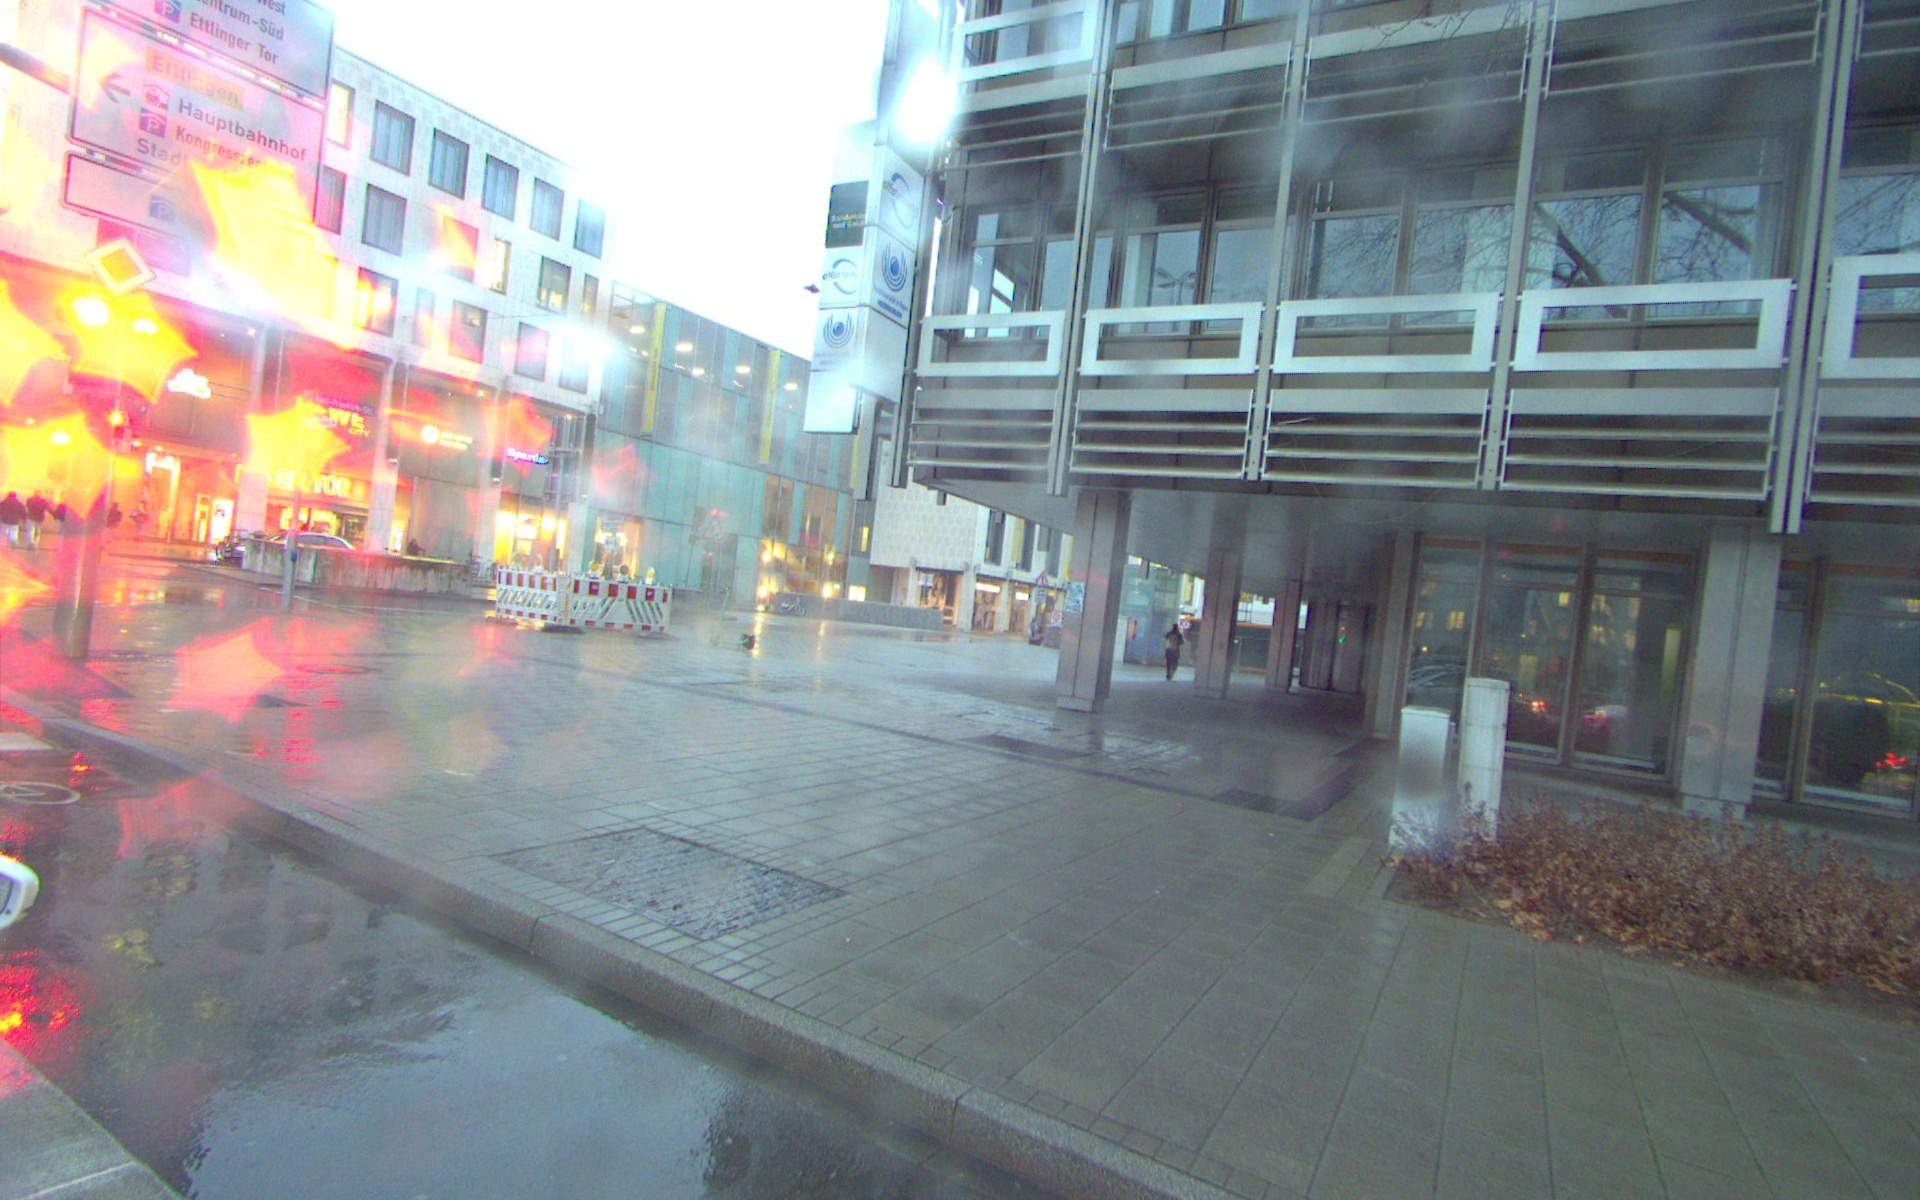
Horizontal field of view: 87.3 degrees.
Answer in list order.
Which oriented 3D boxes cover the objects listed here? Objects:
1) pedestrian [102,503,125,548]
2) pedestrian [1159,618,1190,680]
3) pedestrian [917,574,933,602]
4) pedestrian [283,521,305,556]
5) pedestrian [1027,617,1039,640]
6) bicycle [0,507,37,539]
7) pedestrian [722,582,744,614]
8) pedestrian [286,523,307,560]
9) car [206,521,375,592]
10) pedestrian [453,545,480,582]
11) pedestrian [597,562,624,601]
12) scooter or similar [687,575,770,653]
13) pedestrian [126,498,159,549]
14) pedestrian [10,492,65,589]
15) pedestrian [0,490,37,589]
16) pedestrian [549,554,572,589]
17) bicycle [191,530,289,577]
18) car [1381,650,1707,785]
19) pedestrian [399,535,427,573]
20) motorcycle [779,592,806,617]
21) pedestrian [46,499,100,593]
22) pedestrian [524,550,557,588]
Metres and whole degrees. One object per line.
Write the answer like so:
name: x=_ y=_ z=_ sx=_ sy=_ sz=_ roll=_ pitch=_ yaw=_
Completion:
pedestrian: x=-32.819 y=-2.888 z=39.009 sx=0.480 sy=1.683 sz=0.454 roll=6 pitch=1 yaw=-28
pedestrian: x=6.465 y=1.480 z=30.343 sx=0.678 sy=1.796 sz=0.660 roll=7 pitch=-1 yaw=16
pedestrian: x=-2.218 y=-0.777 z=64.113 sx=0.573 sy=1.703 sz=0.542 roll=6 pitch=-1 yaw=38
pedestrian: x=-34.233 y=-3.157 z=51.715 sx=0.729 sy=1.740 sz=0.733 roll=6 pitch=1 yaw=-31
pedestrian: x=5.707 y=2.245 z=78.737 sx=0.573 sy=1.703 sz=0.542 roll=6 pitch=-1 yaw=38
bicycle: x=-36.494 y=-2.998 z=38.441 sx=0.515 sy=1.082 sz=1.651 roll=7 pitch=-2 yaw=28
pedestrian: x=-13.112 y=-0.126 z=58.062 sx=0.770 sy=1.703 sz=0.742 roll=6 pitch=-1 yaw=38
pedestrian: x=-32.524 y=-2.878 z=49.299 sx=0.360 sy=1.706 sz=0.616 roll=7 pitch=1 yaw=28
car: x=-21.704 y=-1.371 z=32.752 sx=1.967 sy=1.636 sz=3.994 roll=6 pitch=-2 yaw=33
pedestrian: x=-24.265 y=-1.791 z=49.461 sx=0.770 sy=1.703 sz=0.742 roll=6 pitch=-1 yaw=38
pedestrian: x=-16.740 y=-0.882 z=48.208 sx=0.770 sy=1.703 sz=0.742 roll=6 pitch=-1 yaw=38
scooter or similar: x=-4.651 y=0.271 z=20.213 sx=1.470 sy=1.368 sz=0.593 roll=7 pitch=-1 yaw=32
pedestrian: x=-35.504 y=-3.320 z=43.674 sx=0.688 sy=2.039 sz=0.845 roll=7 pitch=1 yaw=40
pedestrian: x=-24.931 y=-1.604 z=27.185 sx=0.745 sy=2.469 sz=0.691 roll=7 pitch=-1 yaw=31
pedestrian: x=-24.812 y=-1.596 z=26.204 sx=0.745 sy=2.469 sz=0.716 roll=7 pitch=-1 yaw=31
pedestrian: x=-21.462 y=-1.516 z=54.034 sx=0.786 sy=1.760 sz=0.767 roll=6 pitch=1 yaw=-43
bicycle: x=-26.336 y=-1.684 z=36.871 sx=0.941 sy=1.375 sz=2.718 roll=6 pitch=-1 yaw=28
car: x=8.722 y=1.667 z=15.267 sx=3.935 sy=1.327 sz=1.994 roll=6 pitch=1 yaw=33
pedestrian: x=-26.507 y=-2.220 z=48.763 sx=0.519 sy=1.705 sz=0.894 roll=6 pitch=0 yaw=31
motorcycle: x=-10.194 y=0.284 z=61.152 sx=0.585 sy=1.368 sz=1.491 roll=7 pitch=-1 yaw=36
pedestrian: x=-24.524 y=-1.494 z=27.821 sx=0.778 sy=2.477 sz=0.694 roll=7 pitch=-1 yaw=32
pedestrian: x=-20.743 y=-1.536 z=49.782 sx=0.810 sy=1.703 sz=1.032 roll=6 pitch=-1 yaw=31
